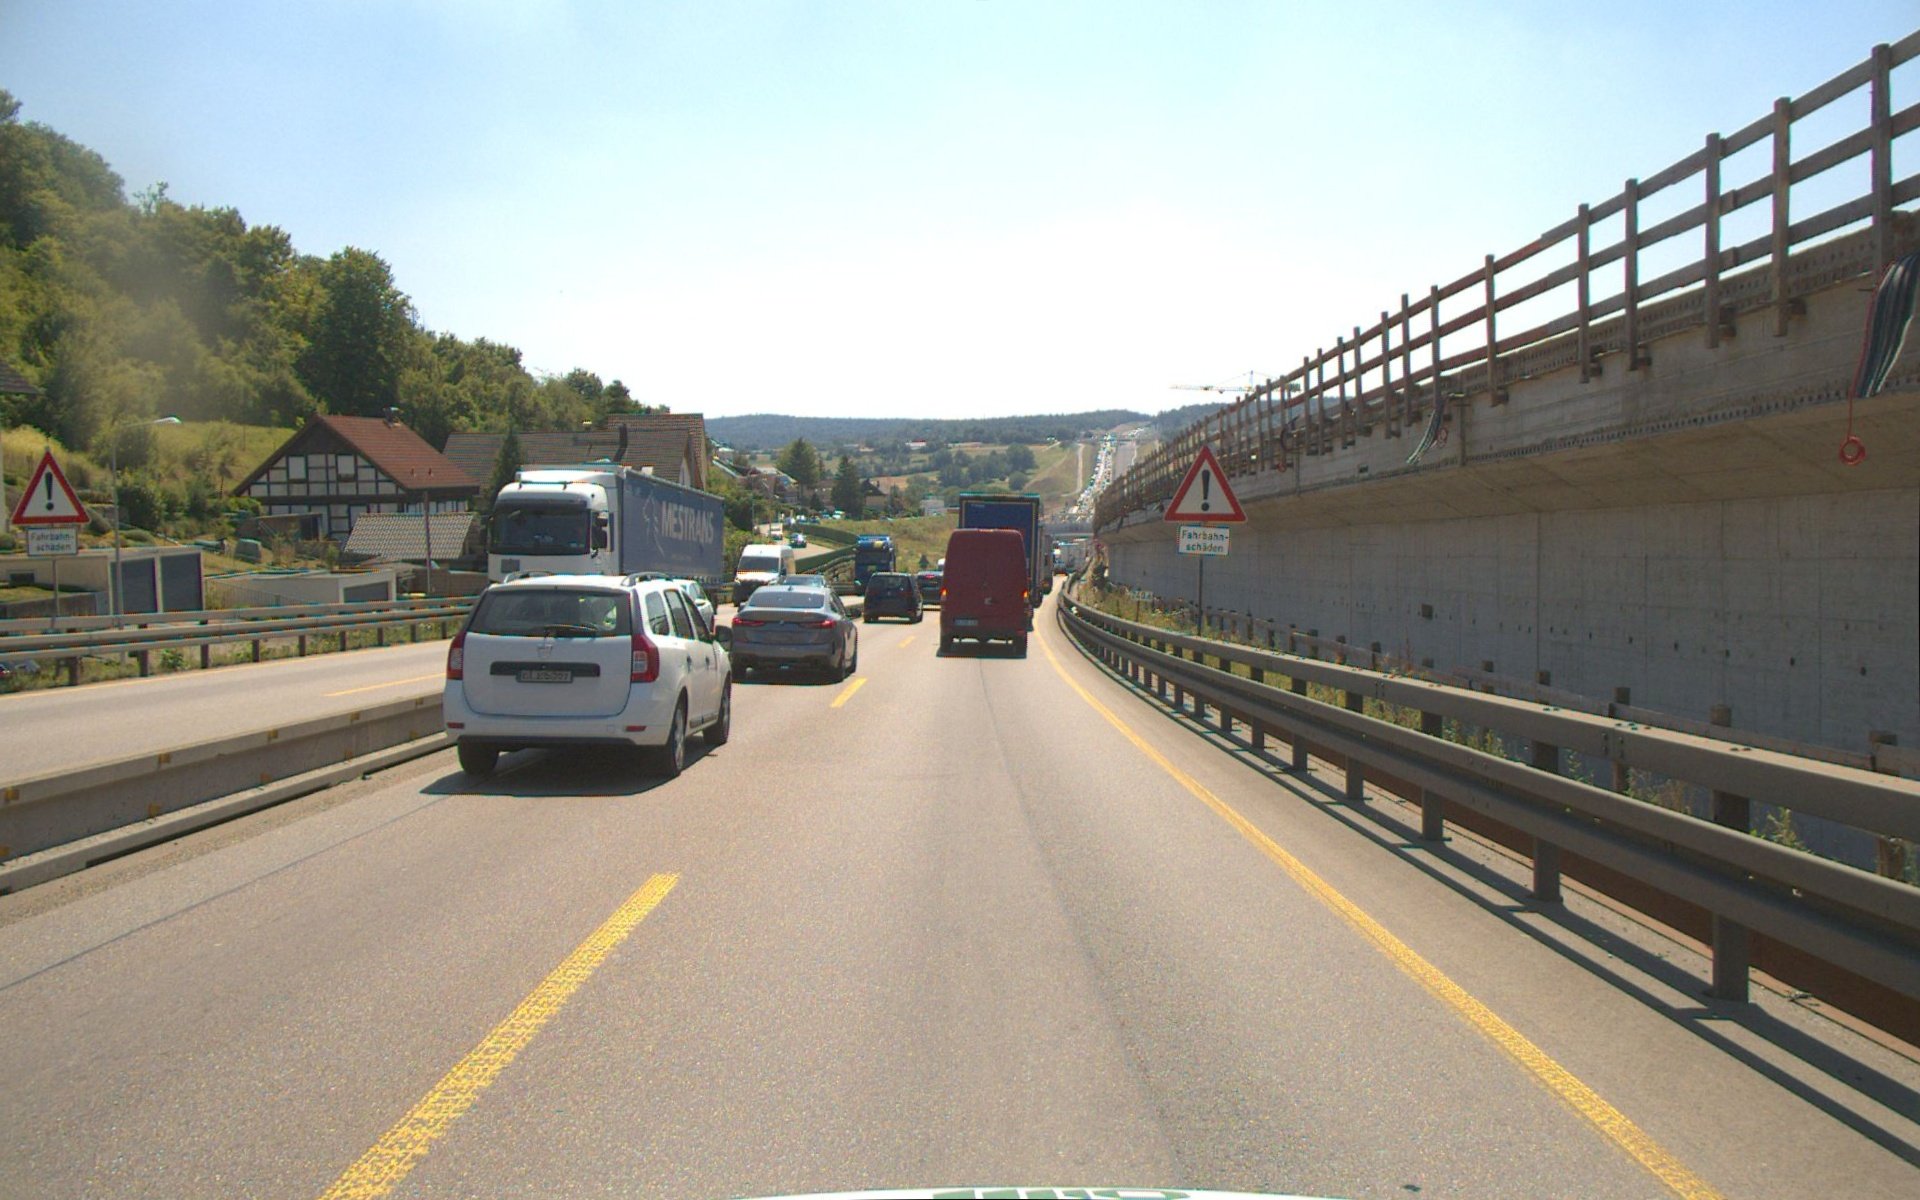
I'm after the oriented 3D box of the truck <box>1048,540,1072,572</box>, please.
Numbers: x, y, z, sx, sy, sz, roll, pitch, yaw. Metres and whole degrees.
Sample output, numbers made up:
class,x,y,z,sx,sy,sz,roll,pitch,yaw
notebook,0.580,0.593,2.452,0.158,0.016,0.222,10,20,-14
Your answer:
class,x,y,z,sx,sy,sz,roll,pitch,yaw
truck,14.544,-6.366,241.011,3.394,4.458,8.561,0,-1,4

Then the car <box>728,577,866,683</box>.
class,x,y,z,sx,sy,sz,roll,pitch,yaw
car,-2.511,0.451,26.273,1.758,1.511,4.049,2,0,0

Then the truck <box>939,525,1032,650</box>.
class,x,y,z,sx,sy,sz,roll,pitch,yaw
truck,0.563,-0.246,36.953,1.952,2.624,4.000,0,-1,1

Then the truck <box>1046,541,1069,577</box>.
class,x,y,z,sx,sy,sz,roll,pitch,yaw
truck,12.963,-5.366,219.536,3.004,4.458,8.561,0,-1,4

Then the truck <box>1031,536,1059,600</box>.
class,x,y,z,sx,sy,sz,roll,pitch,yaw
truck,6.050,-2.252,117.460,1.951,4.458,4.002,0,-1,4

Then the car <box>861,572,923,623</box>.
class,x,y,z,sx,sy,sz,roll,pitch,yaw
car,-2.235,-0.056,55.256,1.772,1.636,3.720,0,-1,2

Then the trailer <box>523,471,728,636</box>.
class,x,y,z,sx,sy,sz,roll,pitch,yaw
trailer,-9.295,-1.259,47.719,3.070,4.150,11.823,0,1,2

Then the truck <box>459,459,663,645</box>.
class,x,y,z,sx,sy,sz,roll,pitch,yaw
truck,-9.545,-1.136,40.463,3.070,4.150,6.882,0,1,2

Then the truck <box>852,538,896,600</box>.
class,x,y,z,sx,sy,sz,roll,pitch,yaw
truck,-5.816,-2.070,112.371,2.456,4.034,5.177,0,-1,3

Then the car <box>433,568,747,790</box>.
class,x,y,z,sx,sy,sz,roll,pitch,yaw
car,-2.888,0.560,13.818,1.618,1.509,4.266,-2,0,0

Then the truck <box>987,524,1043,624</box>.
class,x,y,z,sx,sy,sz,roll,pitch,yaw
truck,2.926,-1.234,86.244,2.728,4.900,9.687,0,-1,2

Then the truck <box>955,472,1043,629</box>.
class,x,y,z,sx,sy,sz,roll,pitch,yaw
truck,1.411,-1.500,56.424,2.728,4.900,9.687,0,-1,2

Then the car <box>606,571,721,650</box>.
class,x,y,z,sx,sy,sz,roll,pitch,yaw
car,-6.175,0.166,34.864,1.637,1.562,4.191,0,1,0

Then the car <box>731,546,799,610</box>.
class,x,y,z,sx,sy,sz,roll,pitch,yaw
car,-8.401,-0.944,71.709,1.963,2.649,5.982,0,1,3

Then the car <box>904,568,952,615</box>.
class,x,y,z,sx,sy,sz,roll,pitch,yaw
car,-1.292,-0.328,68.641,1.693,1.870,4.001,0,-1,3
